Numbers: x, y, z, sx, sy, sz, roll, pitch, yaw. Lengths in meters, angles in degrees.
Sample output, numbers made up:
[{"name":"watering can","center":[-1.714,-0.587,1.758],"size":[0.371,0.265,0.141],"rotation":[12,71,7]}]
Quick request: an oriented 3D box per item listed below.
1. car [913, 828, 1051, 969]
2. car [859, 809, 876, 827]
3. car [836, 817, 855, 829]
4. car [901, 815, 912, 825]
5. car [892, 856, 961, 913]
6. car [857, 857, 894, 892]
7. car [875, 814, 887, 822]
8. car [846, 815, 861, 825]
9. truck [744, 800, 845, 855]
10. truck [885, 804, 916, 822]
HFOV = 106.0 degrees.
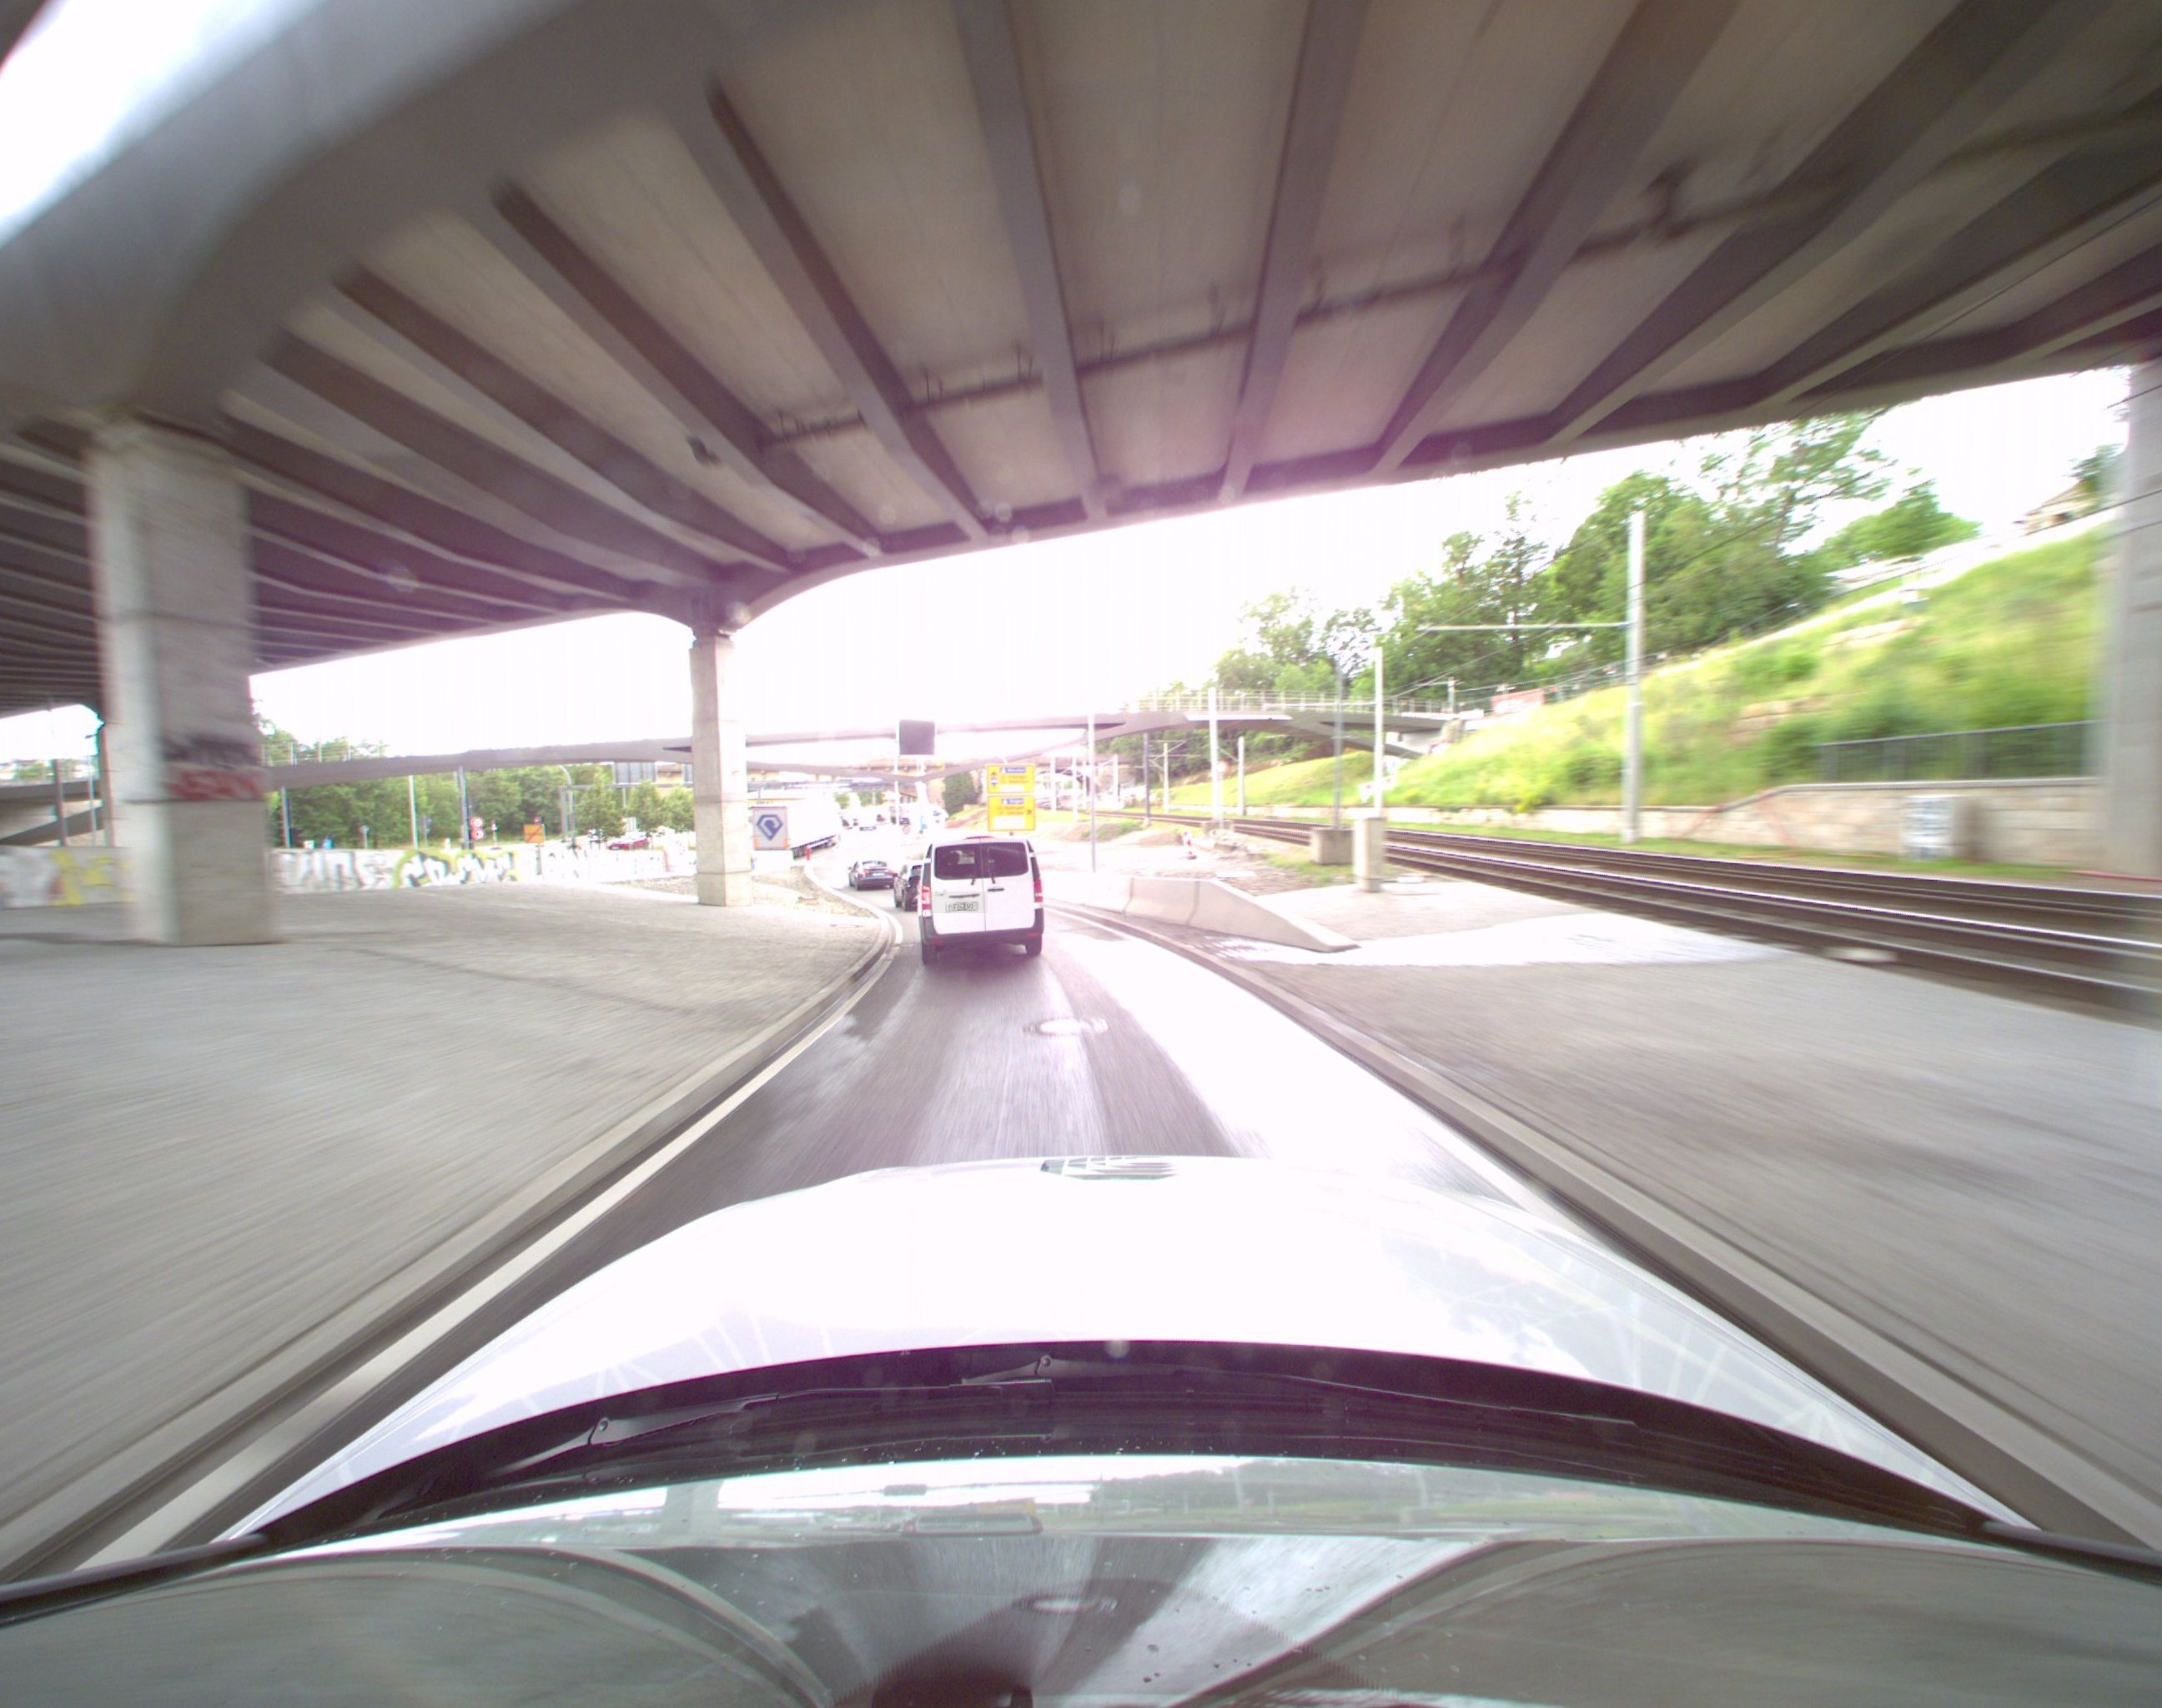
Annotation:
[{"name":"car","center":[-1.890,0.644,14.049],"size":[1.878,1.891,4.733],"rotation":[-3,0,-12]},{"name":"car","center":[-27.183,-4.558,103.604],"size":[1.900,2.115,4.466],"rotation":[-1,2,-13]},{"name":"car","center":[-31.706,-4.152,109.742],"size":[1.643,1.620,3.993],"rotation":[-1,2,-6]},{"name":"car","center":[-31.267,-6.072,145.608],"size":[1.623,1.584,3.989],"rotation":[-1,2,-8]},{"name":"car","center":[-5.216,0.934,27.109],"size":[1.754,1.625,3.821],"rotation":[-1,2,-18]},{"name":"car","center":[-10.031,0.963,39.554],"size":[1.505,1.468,3.380],"rotation":[-4,2,-17]},{"name":"car","center":[-39.284,-7.108,159.917],"size":[1.526,1.508,3.997],"rotation":[0,2,-2]},{"name":"car","center":[-36.882,-5.544,132.103],"size":[1.528,1.508,3.993],"rotation":[-1,2,-5]},{"name":"truck","center":[-22.664,-2.403,65.966],"size":[3.310,3.807,16.577],"rotation":[0,4,-4]},{"name":"truck","center":[-35.073,-7.912,158.410],"size":[3.374,3.149,7.275],"rotation":[2,1,9]}]
